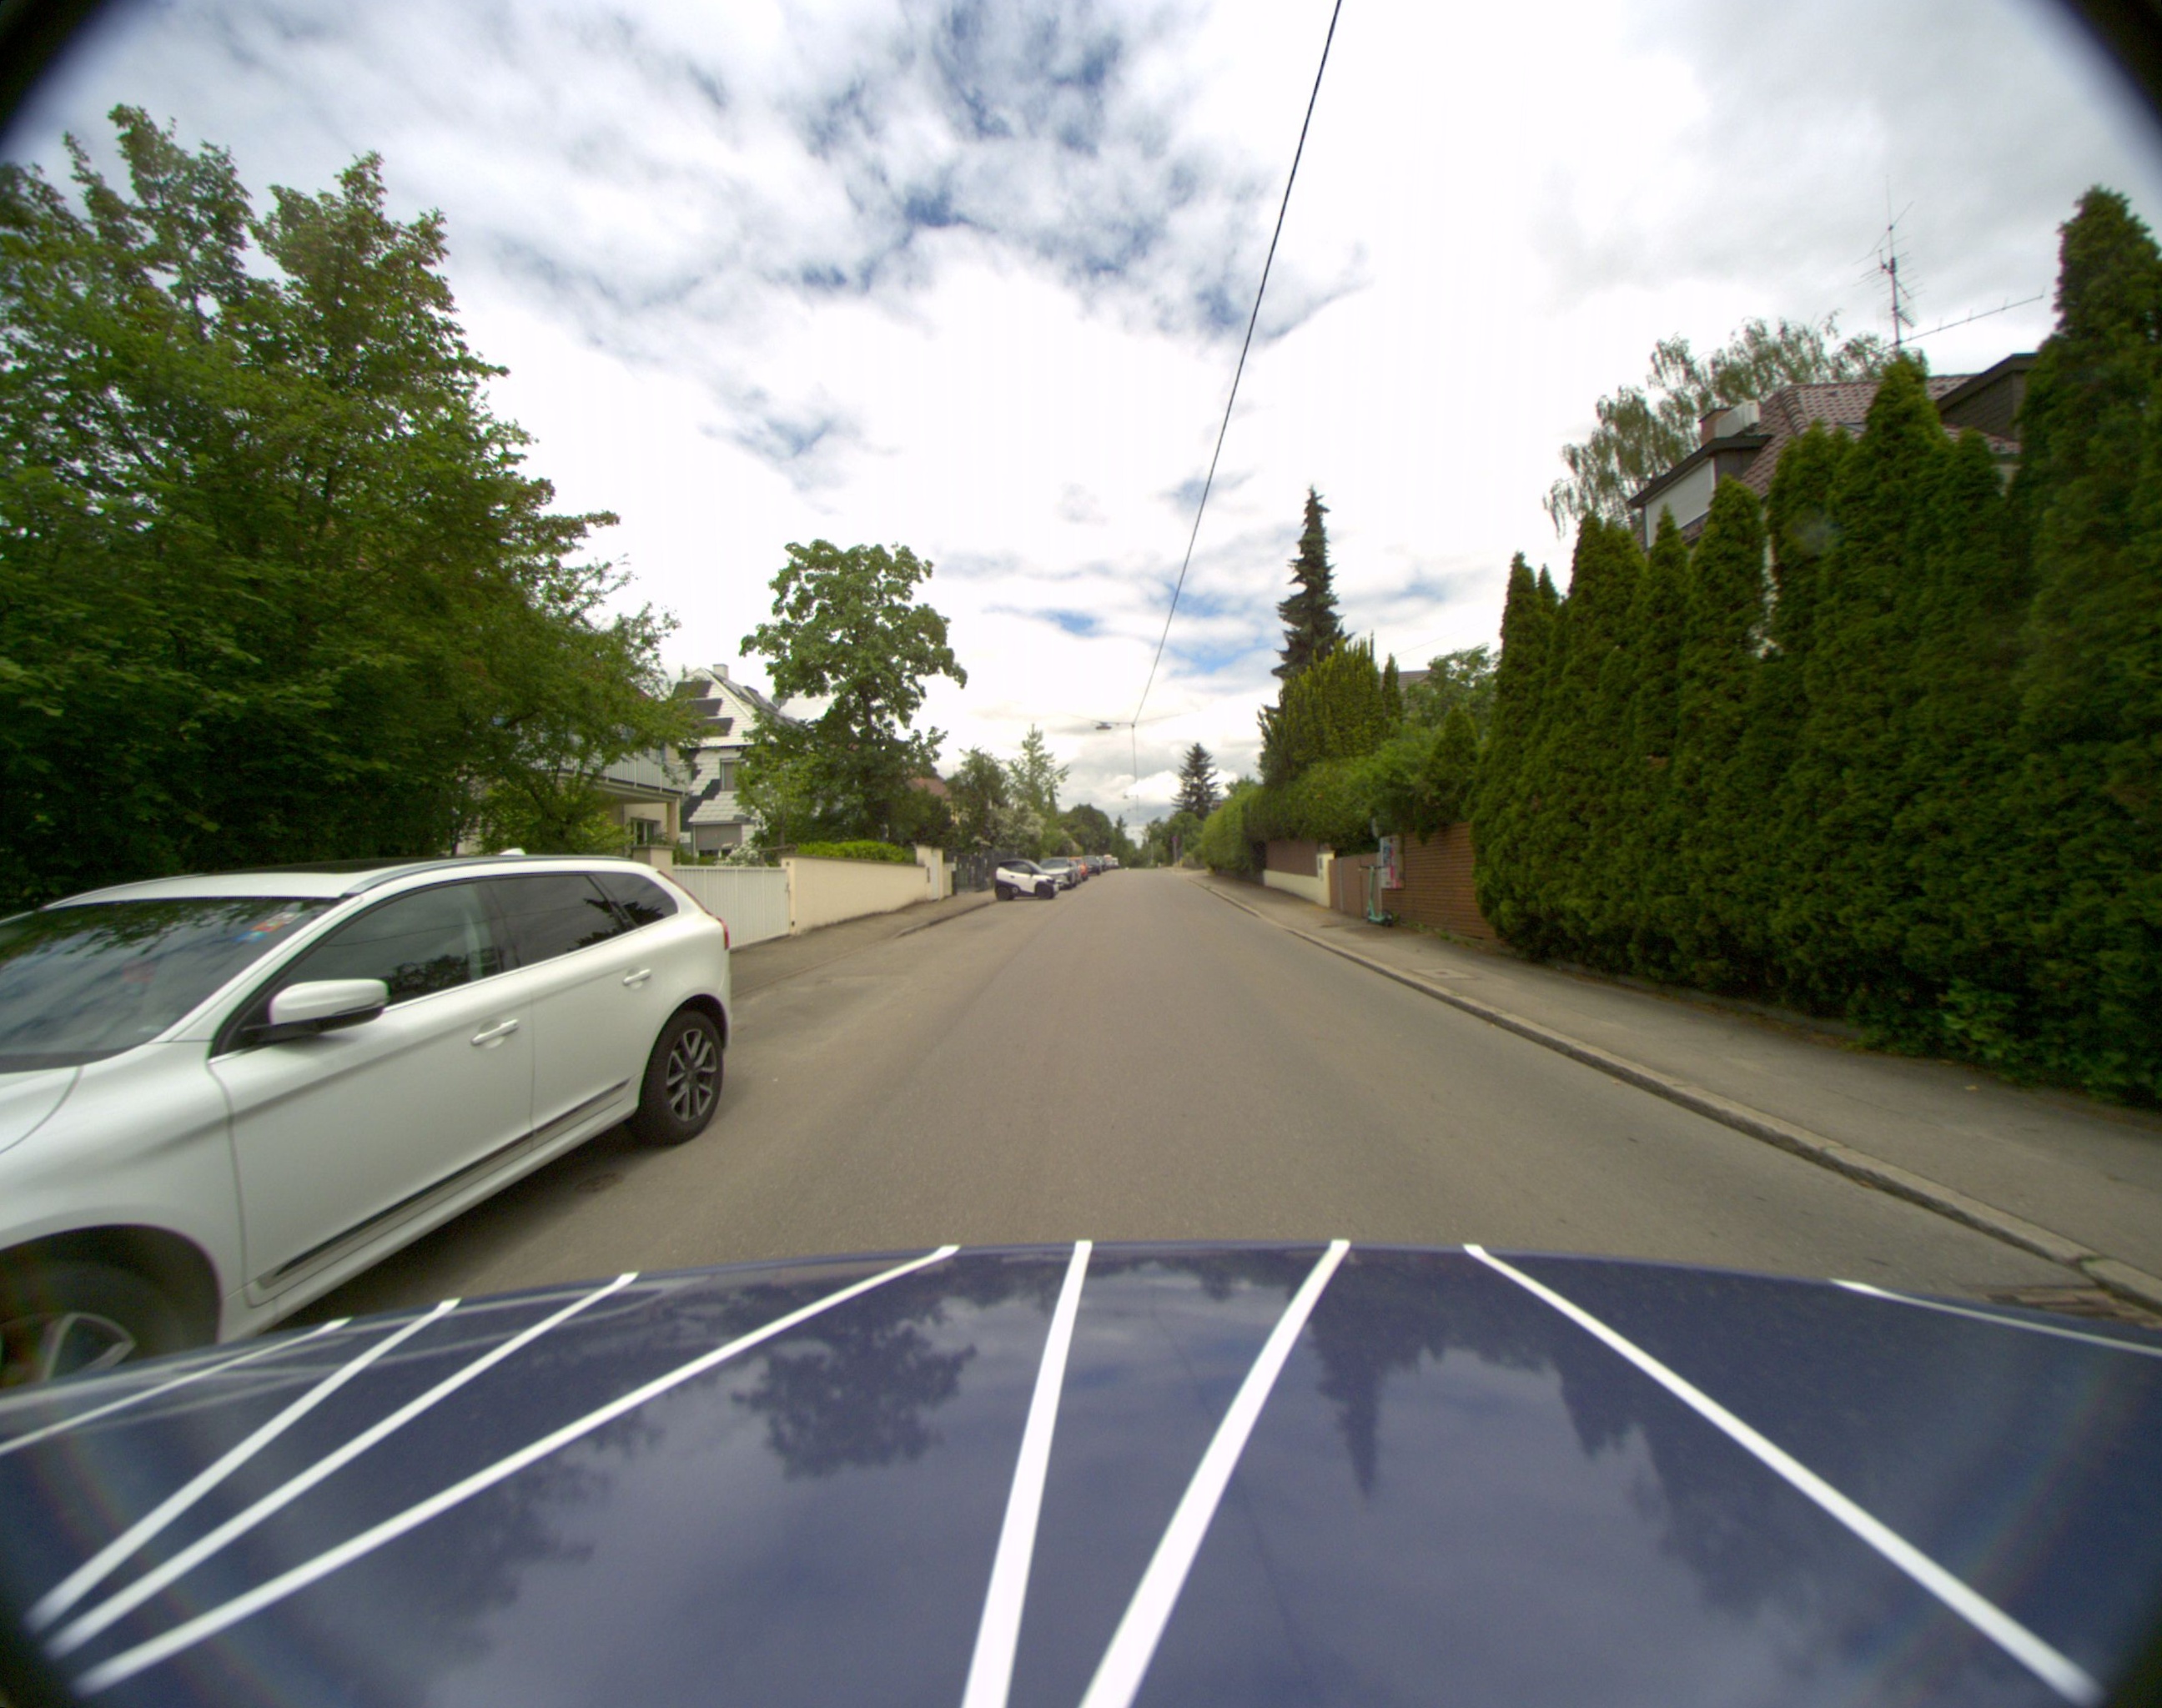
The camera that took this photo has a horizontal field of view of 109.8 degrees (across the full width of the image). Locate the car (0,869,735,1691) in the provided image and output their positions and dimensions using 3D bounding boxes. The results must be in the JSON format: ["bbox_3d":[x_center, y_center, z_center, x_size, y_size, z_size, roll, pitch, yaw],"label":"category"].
[{"bbox_3d":[-3.243,0.985,2.665,1.870,1.675,4.350,-3,0,2],"label":"car"}]

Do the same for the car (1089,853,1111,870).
[{"bbox_3d":[1.908,0.741,75.093,1.805,1.582,4.142,-2,0,6],"label":"car"}]

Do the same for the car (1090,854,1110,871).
[{"bbox_3d":[1.783,0.790,69.864,1.602,1.501,3.014,-2,0,5],"label":"car"}]

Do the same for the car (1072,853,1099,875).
[{"bbox_3d":[0.386,0.799,62.068,1.954,1.617,4.376,-3,0,2],"label":"car"}]

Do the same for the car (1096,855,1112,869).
[{"bbox_3d":[2.701,0.941,89.049,1.721,1.451,4.141,-2,-1,1],"label":"car"}]

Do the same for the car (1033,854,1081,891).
[{"bbox_3d":[-1.132,0.885,37.937,1.833,1.614,4.493,-3,0,4],"label":"car"}]

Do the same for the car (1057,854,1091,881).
[{"bbox_3d":[-0.432,0.843,50.091,1.854,1.617,4.170,-3,0,3],"label":"car"}]

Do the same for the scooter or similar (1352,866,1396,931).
[{"bbox_3d":[5.717,0.844,14.859,0.392,1.164,1.270,-2,0,3],"label":"scooter or similar"}]

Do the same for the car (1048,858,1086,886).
[{"bbox_3d":[-0.729,0.983,43.286,1.720,1.374,4.237,-3,0,4],"label":"car"}]

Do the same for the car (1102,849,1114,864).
[{"bbox_3d":[4.376,0.375,122.955,1.853,2.210,5.369,-4,-1,3],"label":"car"}]

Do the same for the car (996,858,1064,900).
[{"bbox_3d":[-1.937,0.938,29.081,2.291,1.515,1.319,-2,0,9],"label":"car"}]
